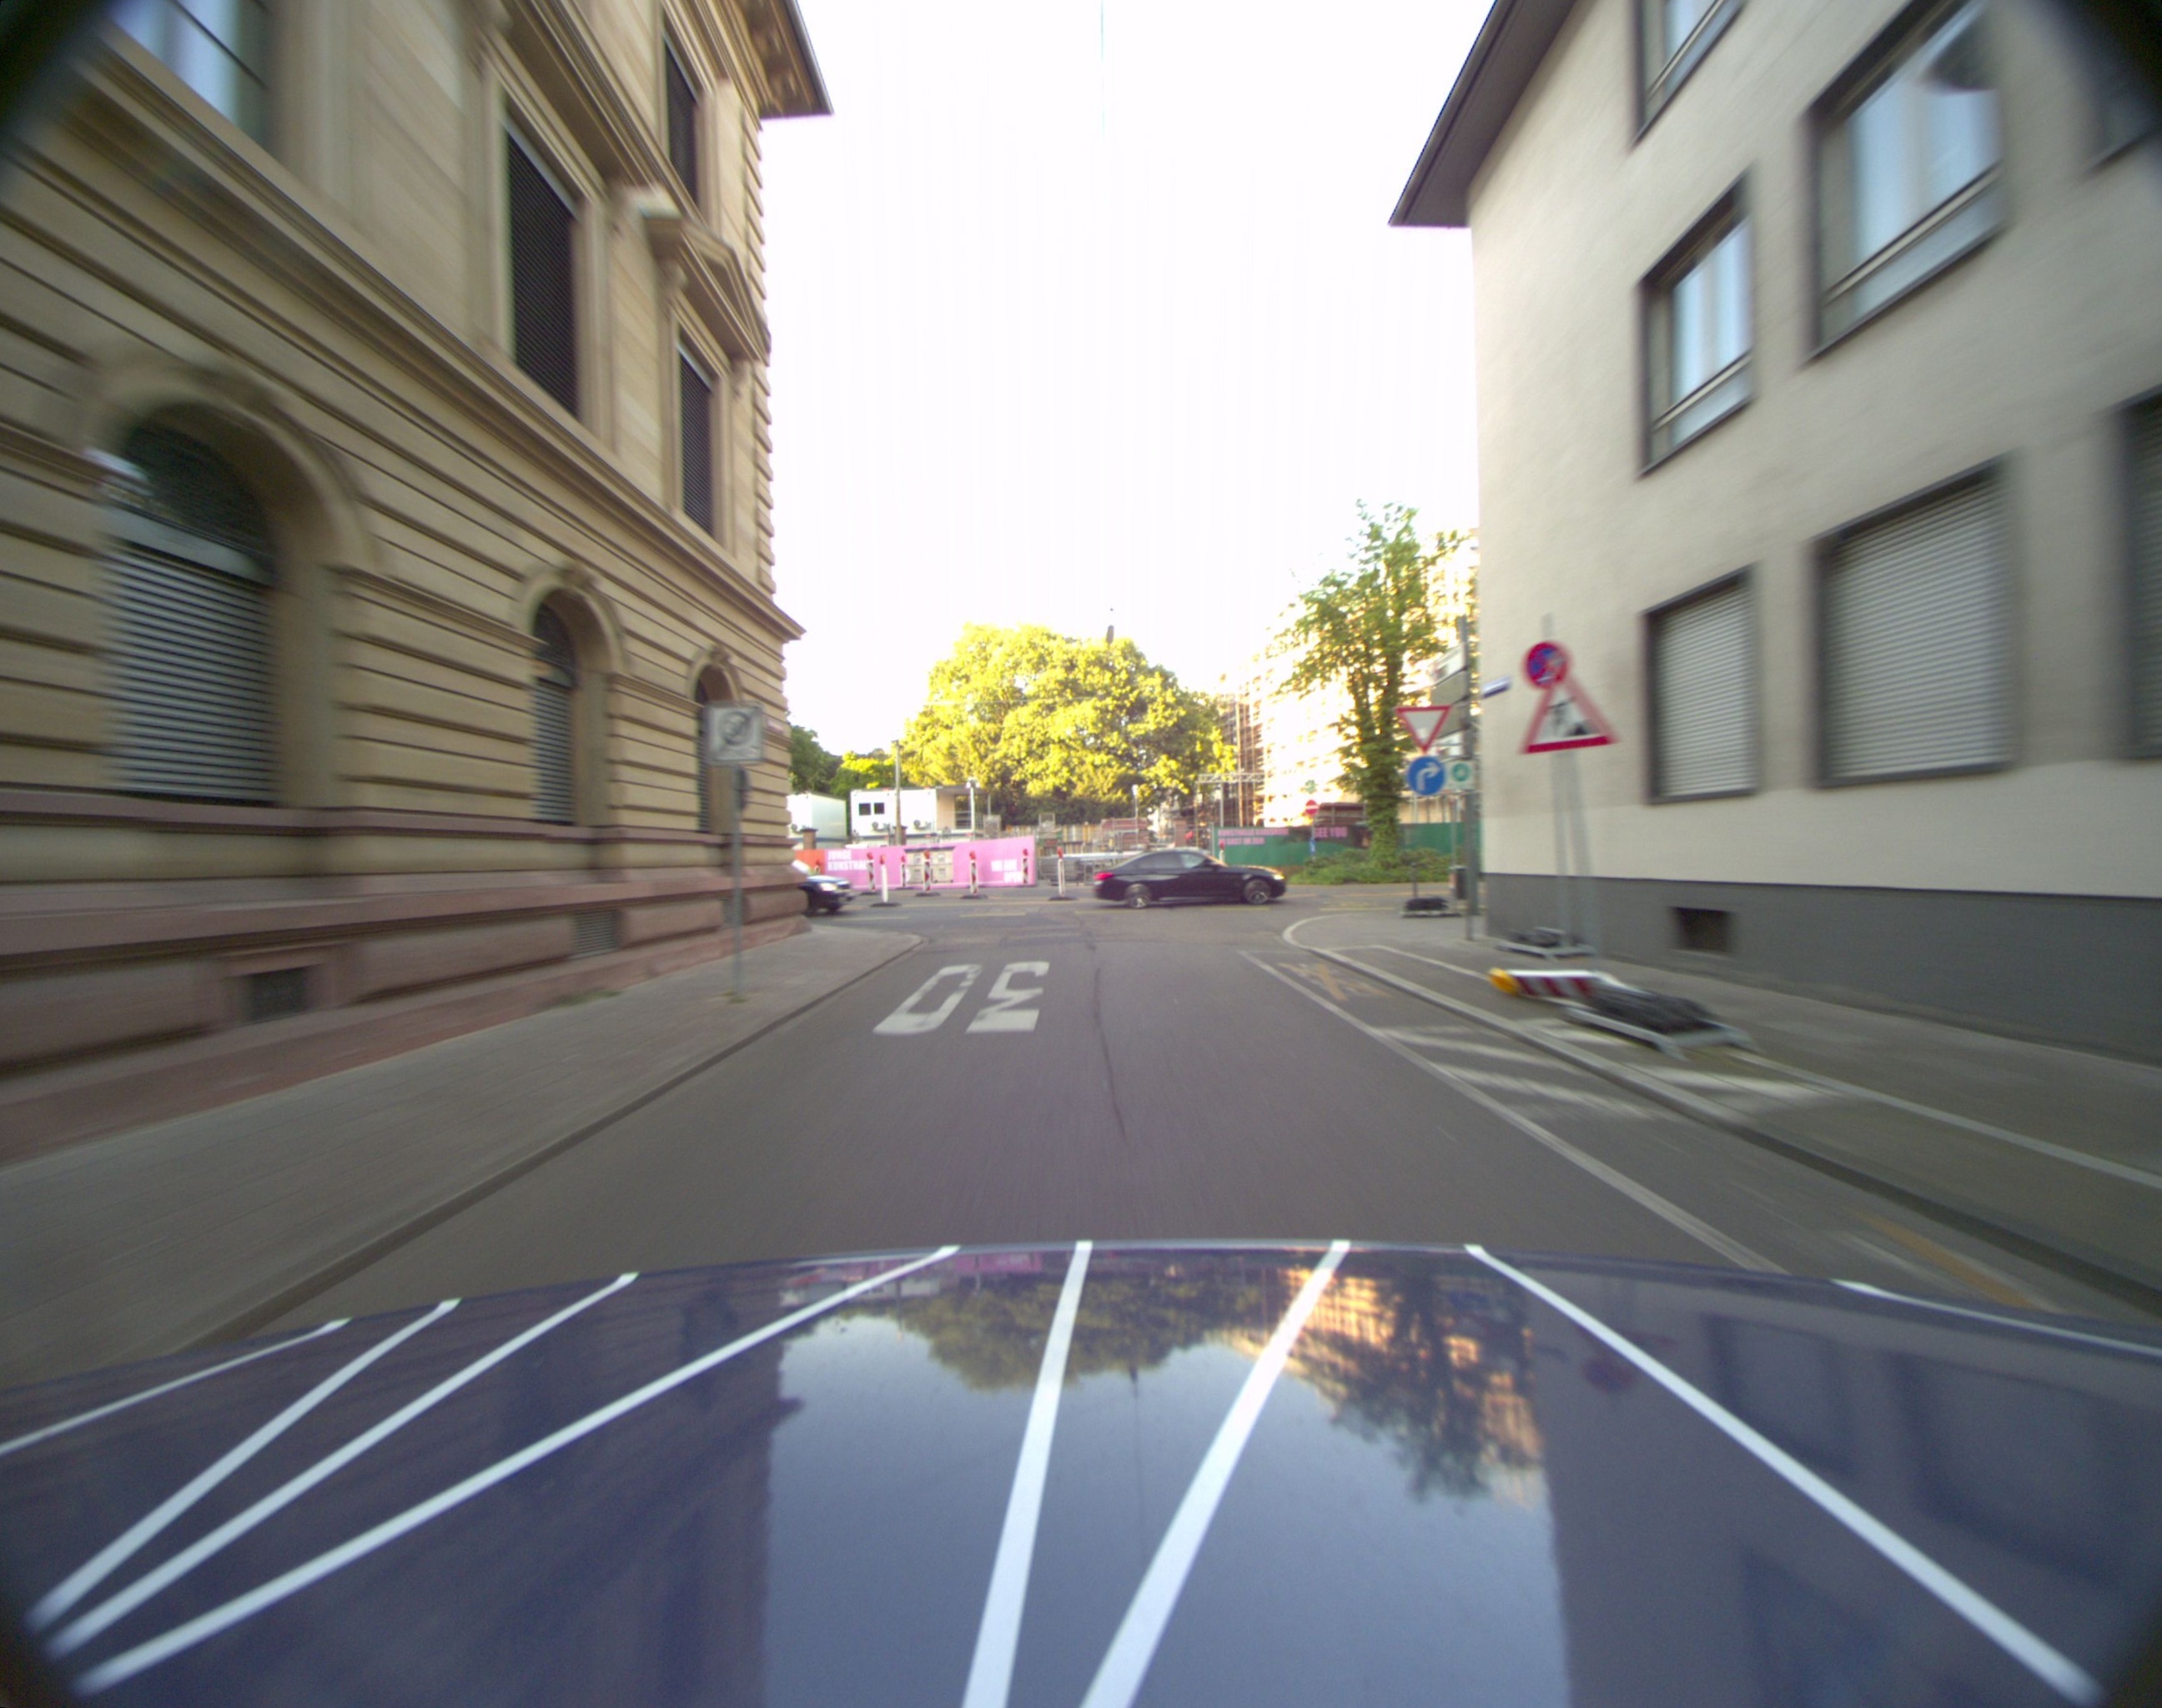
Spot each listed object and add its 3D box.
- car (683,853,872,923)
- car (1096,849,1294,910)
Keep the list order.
[{"bbox_3d":[-8.072,0.881,20.484,4.248,1.648,1.937,-2,1,4],"label":"car"},{"bbox_3d":[2.837,0.629,19.764,4.828,1.375,2.000,-2,1,-1],"label":"car"}]
